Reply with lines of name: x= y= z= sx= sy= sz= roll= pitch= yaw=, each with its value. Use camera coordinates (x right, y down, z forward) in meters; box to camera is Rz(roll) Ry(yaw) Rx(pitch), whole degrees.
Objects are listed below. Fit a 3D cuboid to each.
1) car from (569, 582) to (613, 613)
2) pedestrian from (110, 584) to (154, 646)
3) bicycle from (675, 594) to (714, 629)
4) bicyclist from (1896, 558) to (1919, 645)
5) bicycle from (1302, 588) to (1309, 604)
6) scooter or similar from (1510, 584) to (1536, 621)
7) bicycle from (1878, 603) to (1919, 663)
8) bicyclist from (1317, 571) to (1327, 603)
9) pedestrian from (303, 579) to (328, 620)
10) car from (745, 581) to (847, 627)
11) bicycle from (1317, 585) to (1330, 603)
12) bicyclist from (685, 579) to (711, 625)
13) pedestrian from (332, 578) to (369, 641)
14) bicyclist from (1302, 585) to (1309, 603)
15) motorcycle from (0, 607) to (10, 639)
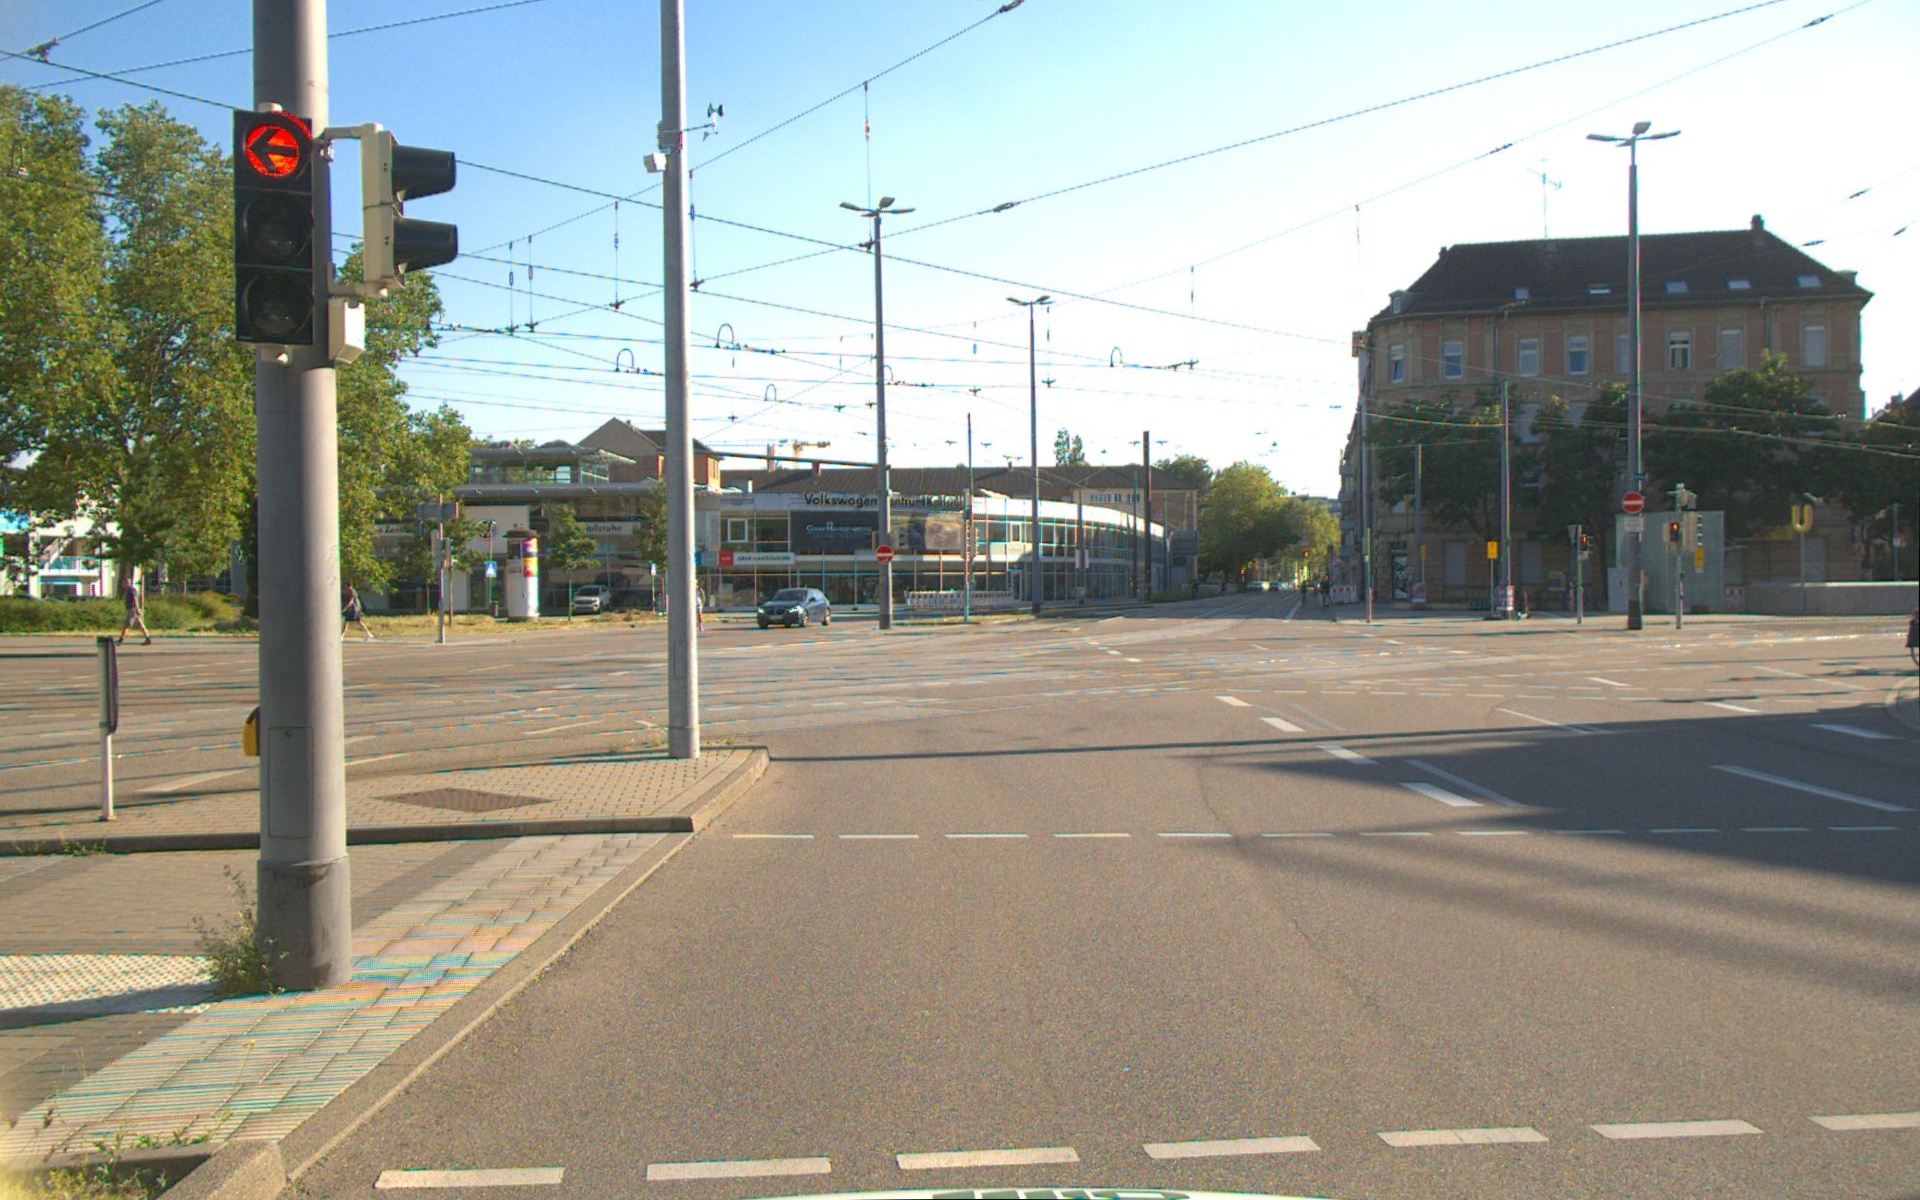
car: x=-22.083 y=-0.123 z=99.086 sx=1.954 sy=1.780 sz=3.997 roll=1 pitch=0 yaw=-4
pedestrian: x=-23.392 y=0.429 z=46.730 sx=0.777 sy=1.736 sz=0.759 roll=1 pitch=-1 yaw=6
bicycle: x=-9.539 y=0.408 z=59.467 sx=0.599 sy=1.210 sz=1.870 roll=1 pitch=0 yaw=17
bicyclist: x=17.663 y=0.037 z=30.189 sx=0.505 sy=1.584 sz=0.945 roll=1 pitch=0 yaw=-10
bicycle: x=21.025 y=-0.265 z=100.647 sx=0.401 sy=0.958 sz=1.847 roll=1 pitch=0 yaw=12
scooter or similar: x=21.575 y=0.096 z=63.421 sx=0.769 sy=1.400 sz=1.910 roll=1 pitch=0 yaw=13
bicycle: x=17.690 y=0.614 z=29.955 sx=0.524 sy=1.067 sz=2.316 roll=1 pitch=1 yaw=-9
bicyclist: x=20.079 y=-0.713 z=91.687 sx=0.507 sy=1.730 sz=0.516 roll=1 pitch=-1 yaw=15
pedestrian: x=-27.213 y=-0.012 z=69.836 sx=0.839 sy=1.723 sz=0.496 roll=1 pitch=-1 yaw=-3
car: x=-6.065 y=0.163 z=61.656 sx=1.954 sy=1.613 sz=3.996 roll=1 pitch=0 yaw=26
bicycle: x=20.134 y=-0.339 z=91.695 sx=0.643 sy=0.969 sz=1.601 roll=1 pitch=0 yaw=14
bicyclist: x=-9.454 y=0.067 z=59.717 sx=0.585 sy=1.644 sz=0.823 roll=1 pitch=-1 yaw=17
pedestrian: x=-18.725 y=0.296 z=50.843 sx=0.777 sy=1.919 sz=0.759 roll=1 pitch=-1 yaw=6
bicyclist: x=20.995 y=-0.362 z=100.599 sx=0.399 sy=1.136 sz=0.399 roll=1 pitch=-1 yaw=11
motorcycle: x=-28.928 y=0.667 z=48.497 sx=1.748 sy=0.930 sz=0.675 roll=1 pitch=0 yaw=-21
